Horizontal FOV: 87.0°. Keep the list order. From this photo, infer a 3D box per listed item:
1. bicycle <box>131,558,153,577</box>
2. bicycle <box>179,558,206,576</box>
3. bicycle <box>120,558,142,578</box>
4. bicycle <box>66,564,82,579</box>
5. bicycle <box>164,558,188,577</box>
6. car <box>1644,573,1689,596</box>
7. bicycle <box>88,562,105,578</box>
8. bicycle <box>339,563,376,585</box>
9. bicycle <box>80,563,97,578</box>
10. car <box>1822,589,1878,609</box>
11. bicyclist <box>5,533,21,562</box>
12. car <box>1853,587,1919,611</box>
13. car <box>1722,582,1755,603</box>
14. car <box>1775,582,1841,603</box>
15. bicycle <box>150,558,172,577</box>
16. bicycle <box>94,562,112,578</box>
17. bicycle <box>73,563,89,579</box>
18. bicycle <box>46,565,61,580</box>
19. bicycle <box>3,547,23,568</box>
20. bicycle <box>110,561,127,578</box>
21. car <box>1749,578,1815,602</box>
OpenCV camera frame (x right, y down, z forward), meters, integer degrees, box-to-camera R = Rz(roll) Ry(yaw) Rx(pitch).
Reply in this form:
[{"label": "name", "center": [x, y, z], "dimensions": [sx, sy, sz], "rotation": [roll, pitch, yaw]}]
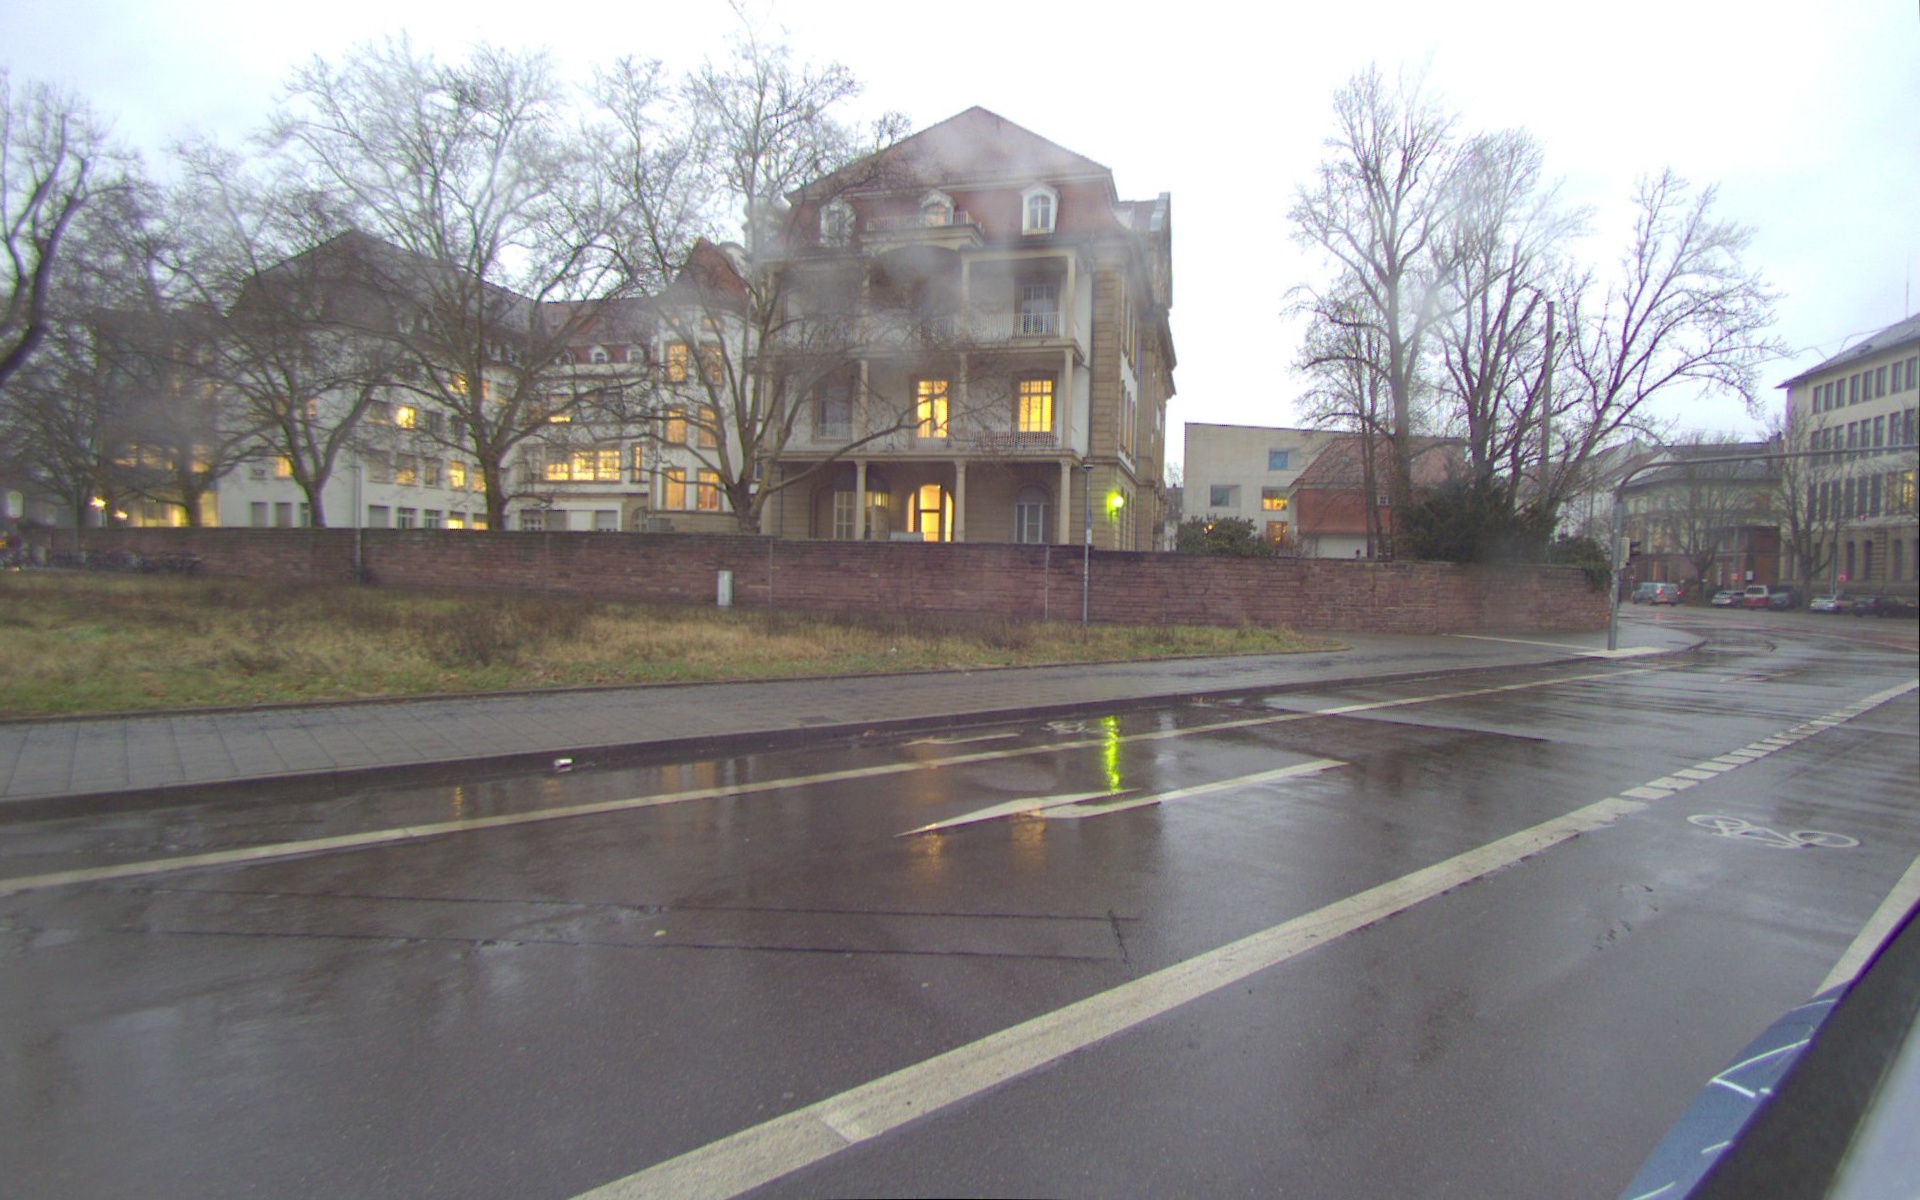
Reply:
[{"label": "bicycle", "center": [-38.620, -1.509, 47.767], "dimensions": [1.519, 0.869, 0.389], "rotation": [0, 0, 33]}, {"label": "bicycle", "center": [-34.203, -1.470, 45.109], "dimensions": [1.399, 0.796, 0.355], "rotation": [0, 0, 26]}, {"label": "bicycle", "center": [-39.902, -1.541, 48.720], "dimensions": [1.519, 0.928, 0.389], "rotation": [0, 0, 33]}, {"label": "bicycle", "center": [-47.890, -1.541, 54.672], "dimensions": [1.522, 0.796, 0.389], "rotation": [0, 0, 38]}, {"label": "bicycle", "center": [-35.543, -1.471, 45.859], "dimensions": [1.519, 0.796, 0.389], "rotation": [0, 0, 33]}, {"label": "car", "center": [60.891, -1.316, 87.248], "dimensions": [1.856, 1.868, 3.982], "rotation": [0, 0, 14]}, {"label": "bicycle", "center": [-44.172, -1.532, 51.766], "dimensions": [1.522, 0.796, 0.389], "rotation": [0, 0, 38]}, {"label": "bicycle", "center": [-23.377, -0.990, 39.272], "dimensions": [1.366, 0.835, 0.392], "rotation": [0, 0, 14]}, {"label": "bicycle", "center": [-45.436, -1.535, 52.739], "dimensions": [1.522, 0.796, 0.389], "rotation": [0, 0, 38]}, {"label": "car", "center": [63.607, -0.084, 72.309], "dimensions": [3.568, 1.322, 1.712], "rotation": [-1, 0, -25]}, {"label": "bicyclist", "center": [-55.112, -3.038, 58.907], "dimensions": [0.450, 1.662, 0.603], "rotation": [0, 0, 37]}, {"label": "car", "center": [61.968, -0.062, 67.015], "dimensions": [3.927, 1.570, 1.800], "rotation": [0, 0, 4]}, {"label": "car", "center": [66.484, -0.647, 86.397], "dimensions": [1.992, 1.690, 3.940], "rotation": [0, 1, 42]}, {"label": "car", "center": [64.703, -0.588, 77.235], "dimensions": [3.916, 1.570, 1.805], "rotation": [0, 0, -13]}, {"label": "bicycle", "center": [-37.024, -1.499, 46.884], "dimensions": [1.480, 0.849, 0.346], "rotation": [0, 0, 32]}, {"label": "bicycle", "center": [-43.125, -1.498, 50.895], "dimensions": [1.522, 0.796, 0.389], "rotation": [0, 0, 38]}, {"label": "bicycle", "center": [-46.666, -1.538, 53.717], "dimensions": [1.522, 0.796, 0.389], "rotation": [0, 0, 38]}, {"label": "bicycle", "center": [-51.603, -1.549, 57.590], "dimensions": [1.522, 0.796, 0.389], "rotation": [0, 0, 38]}, {"label": "bicycle", "center": [-55.105, -2.482, 58.898], "dimensions": [1.670, 1.182, 0.603], "rotation": [0, 0, 37]}, {"label": "bicycle", "center": [-41.468, -1.478, 49.875], "dimensions": [1.599, 0.796, 0.388], "rotation": [0, 0, 41]}, {"label": "car", "center": [64.985, -0.794, 80.032], "dimensions": [3.916, 1.924, 2.052], "rotation": [0, 0, -13]}]
